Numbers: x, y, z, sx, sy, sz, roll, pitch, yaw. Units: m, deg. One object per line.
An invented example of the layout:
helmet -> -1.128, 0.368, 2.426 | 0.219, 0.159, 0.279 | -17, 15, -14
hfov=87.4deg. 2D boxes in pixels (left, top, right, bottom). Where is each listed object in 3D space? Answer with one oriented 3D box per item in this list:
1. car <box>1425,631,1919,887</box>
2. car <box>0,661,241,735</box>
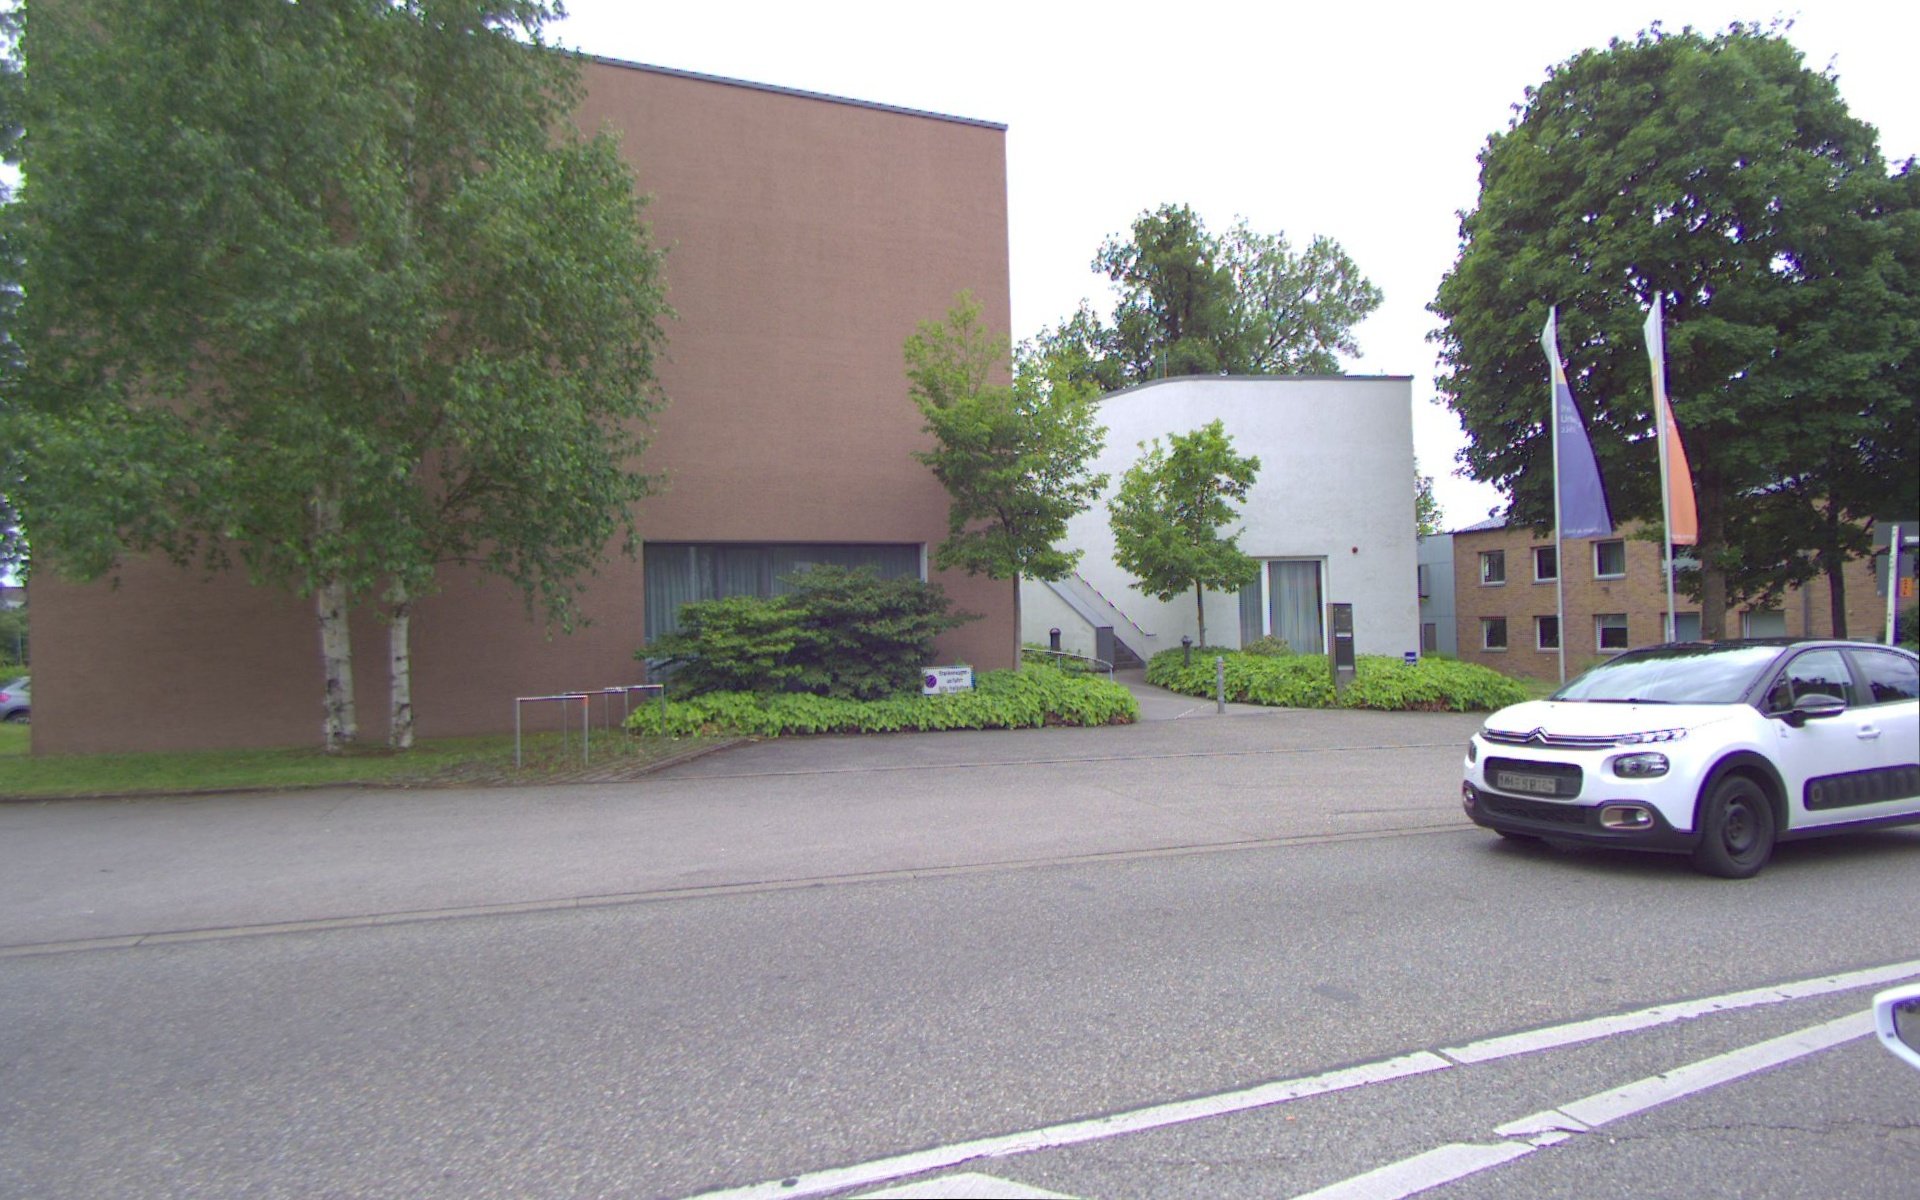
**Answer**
car -> 5.459, 1.005, 7.215 | 3.700, 1.458, 1.694 | 1, -5, -21
car -> -19.319, 2.214, 23.238 | 3.941, 1.541, 1.781 | 0, -3, -17
